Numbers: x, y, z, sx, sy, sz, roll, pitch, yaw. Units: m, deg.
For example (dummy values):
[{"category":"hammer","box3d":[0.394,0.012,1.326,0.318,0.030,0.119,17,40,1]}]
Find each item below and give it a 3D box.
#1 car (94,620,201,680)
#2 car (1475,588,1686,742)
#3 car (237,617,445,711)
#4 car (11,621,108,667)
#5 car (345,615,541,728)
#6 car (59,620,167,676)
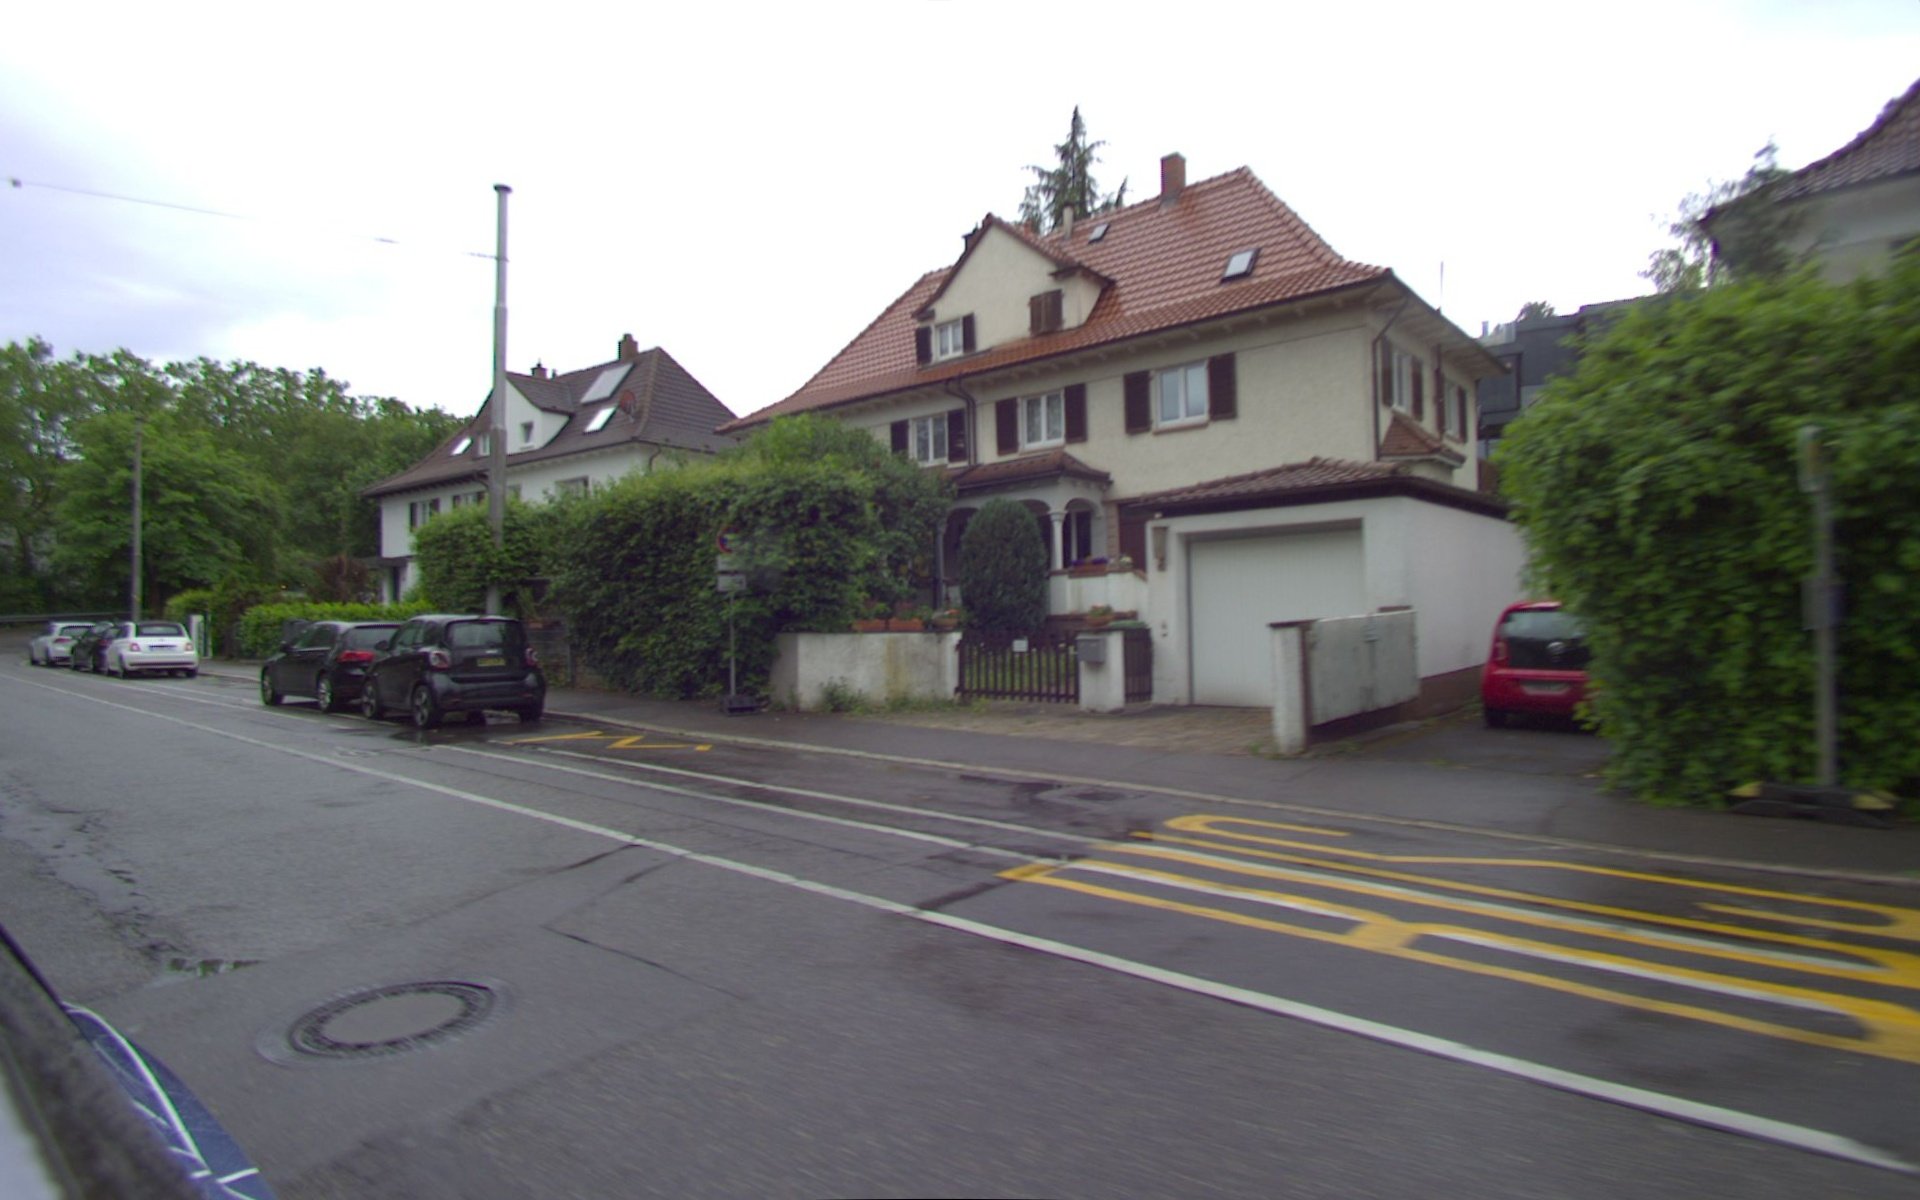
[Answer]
[{"category":"car","box3d":[-22.043,1.295,27.416,3.709,1.479,1.680,-1,-1,42]},{"category":"car","box3d":[7.554,0.643,12.171,1.633,1.433,3.607,0,3,40]},{"category":"car","box3d":[-10.709,1.042,17.397,4.209,1.429,1.671,-2,-3,38]},{"category":"car","box3d":[-29.962,1.479,33.645,4.278,1.433,1.716,-3,-4,39]},{"category":"car","box3d":[-7.538,0.980,14.673,3.028,1.465,1.503,-2,-3,41]},{"category":"car","box3d":[-25.331,1.388,30.227,4.418,1.536,1.681,-1,-1,39]}]
